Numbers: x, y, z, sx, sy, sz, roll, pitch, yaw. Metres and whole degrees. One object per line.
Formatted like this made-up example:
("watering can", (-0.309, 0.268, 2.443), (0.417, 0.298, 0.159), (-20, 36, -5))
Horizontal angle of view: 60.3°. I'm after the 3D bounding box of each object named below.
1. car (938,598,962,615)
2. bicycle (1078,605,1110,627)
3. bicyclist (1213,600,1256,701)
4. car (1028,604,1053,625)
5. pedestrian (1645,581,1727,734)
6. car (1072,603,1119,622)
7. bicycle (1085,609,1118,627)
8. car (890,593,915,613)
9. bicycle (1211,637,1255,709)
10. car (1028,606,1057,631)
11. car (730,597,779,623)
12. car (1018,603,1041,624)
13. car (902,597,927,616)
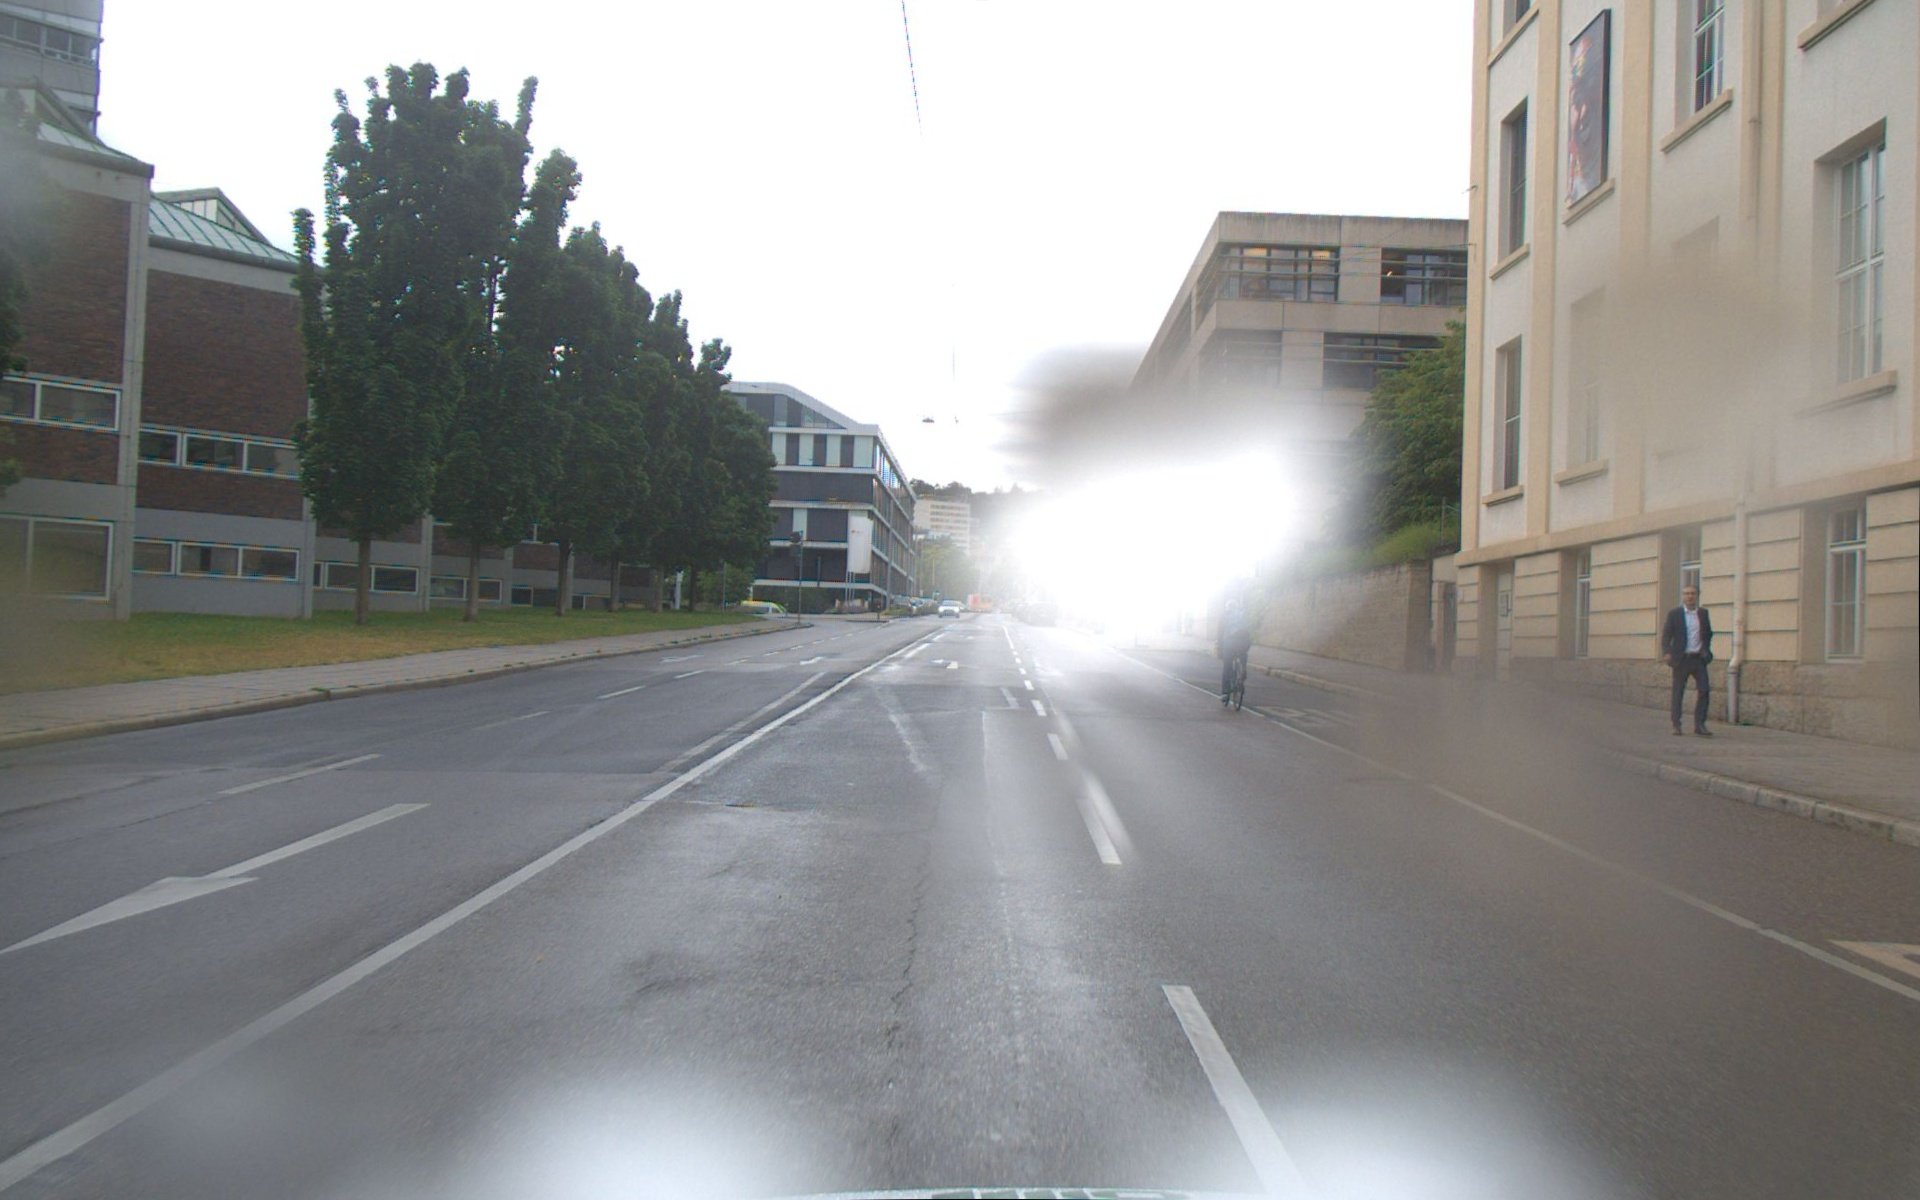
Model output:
("car", (-0.883, 0.566, 153.122), (1.842, 1.517, 5.222), (0, 0, 3))
("bicycle", (7.597, 0.913, 93.672), (1.695, 1.138, 0.659), (2, -1, -4))
("bicyclist", (4.100, 0.745, 24.739), (0.474, 1.458, 0.930), (3, -1, 3))
("car", (6.441, 1.180, 132.753), (1.708, 1.560, 4.319), (3, -1, 0))
("pedestrian", (8.927, 0.692, 20.362), (0.656, 1.829, 0.852), (1, -1, 2))
("car", (12.939, 1.170, 157.831), (4.347, 1.743, 1.905), (-1, -1, 0))
("bicycle", (7.921, 1.004, 92.685), (1.723, 0.970, 0.659), (2, -1, -2))
("car", (-5.007, 0.283, 144.750), (1.811, 1.646, 4.491), (3, -1, 1))
("bicycle", (4.091, 1.078, 24.848), (0.438, 0.980, 1.690), (2, 0, 3))
("car", (5.767, 1.322, 116.552), (1.735, 1.632, 4.394), (3, -1, 0))
("car", (-19.524, 0.956, 157.305), (4.500, 2.212, 1.929), (3, -1, -5))
("car", (6.232, 1.191, 149.228), (1.896, 1.780, 4.797), (3, -1, 1))
("car", (-4.416, 0.643, 161.587), (1.922, 1.780, 4.943), (3, -1, 3))
